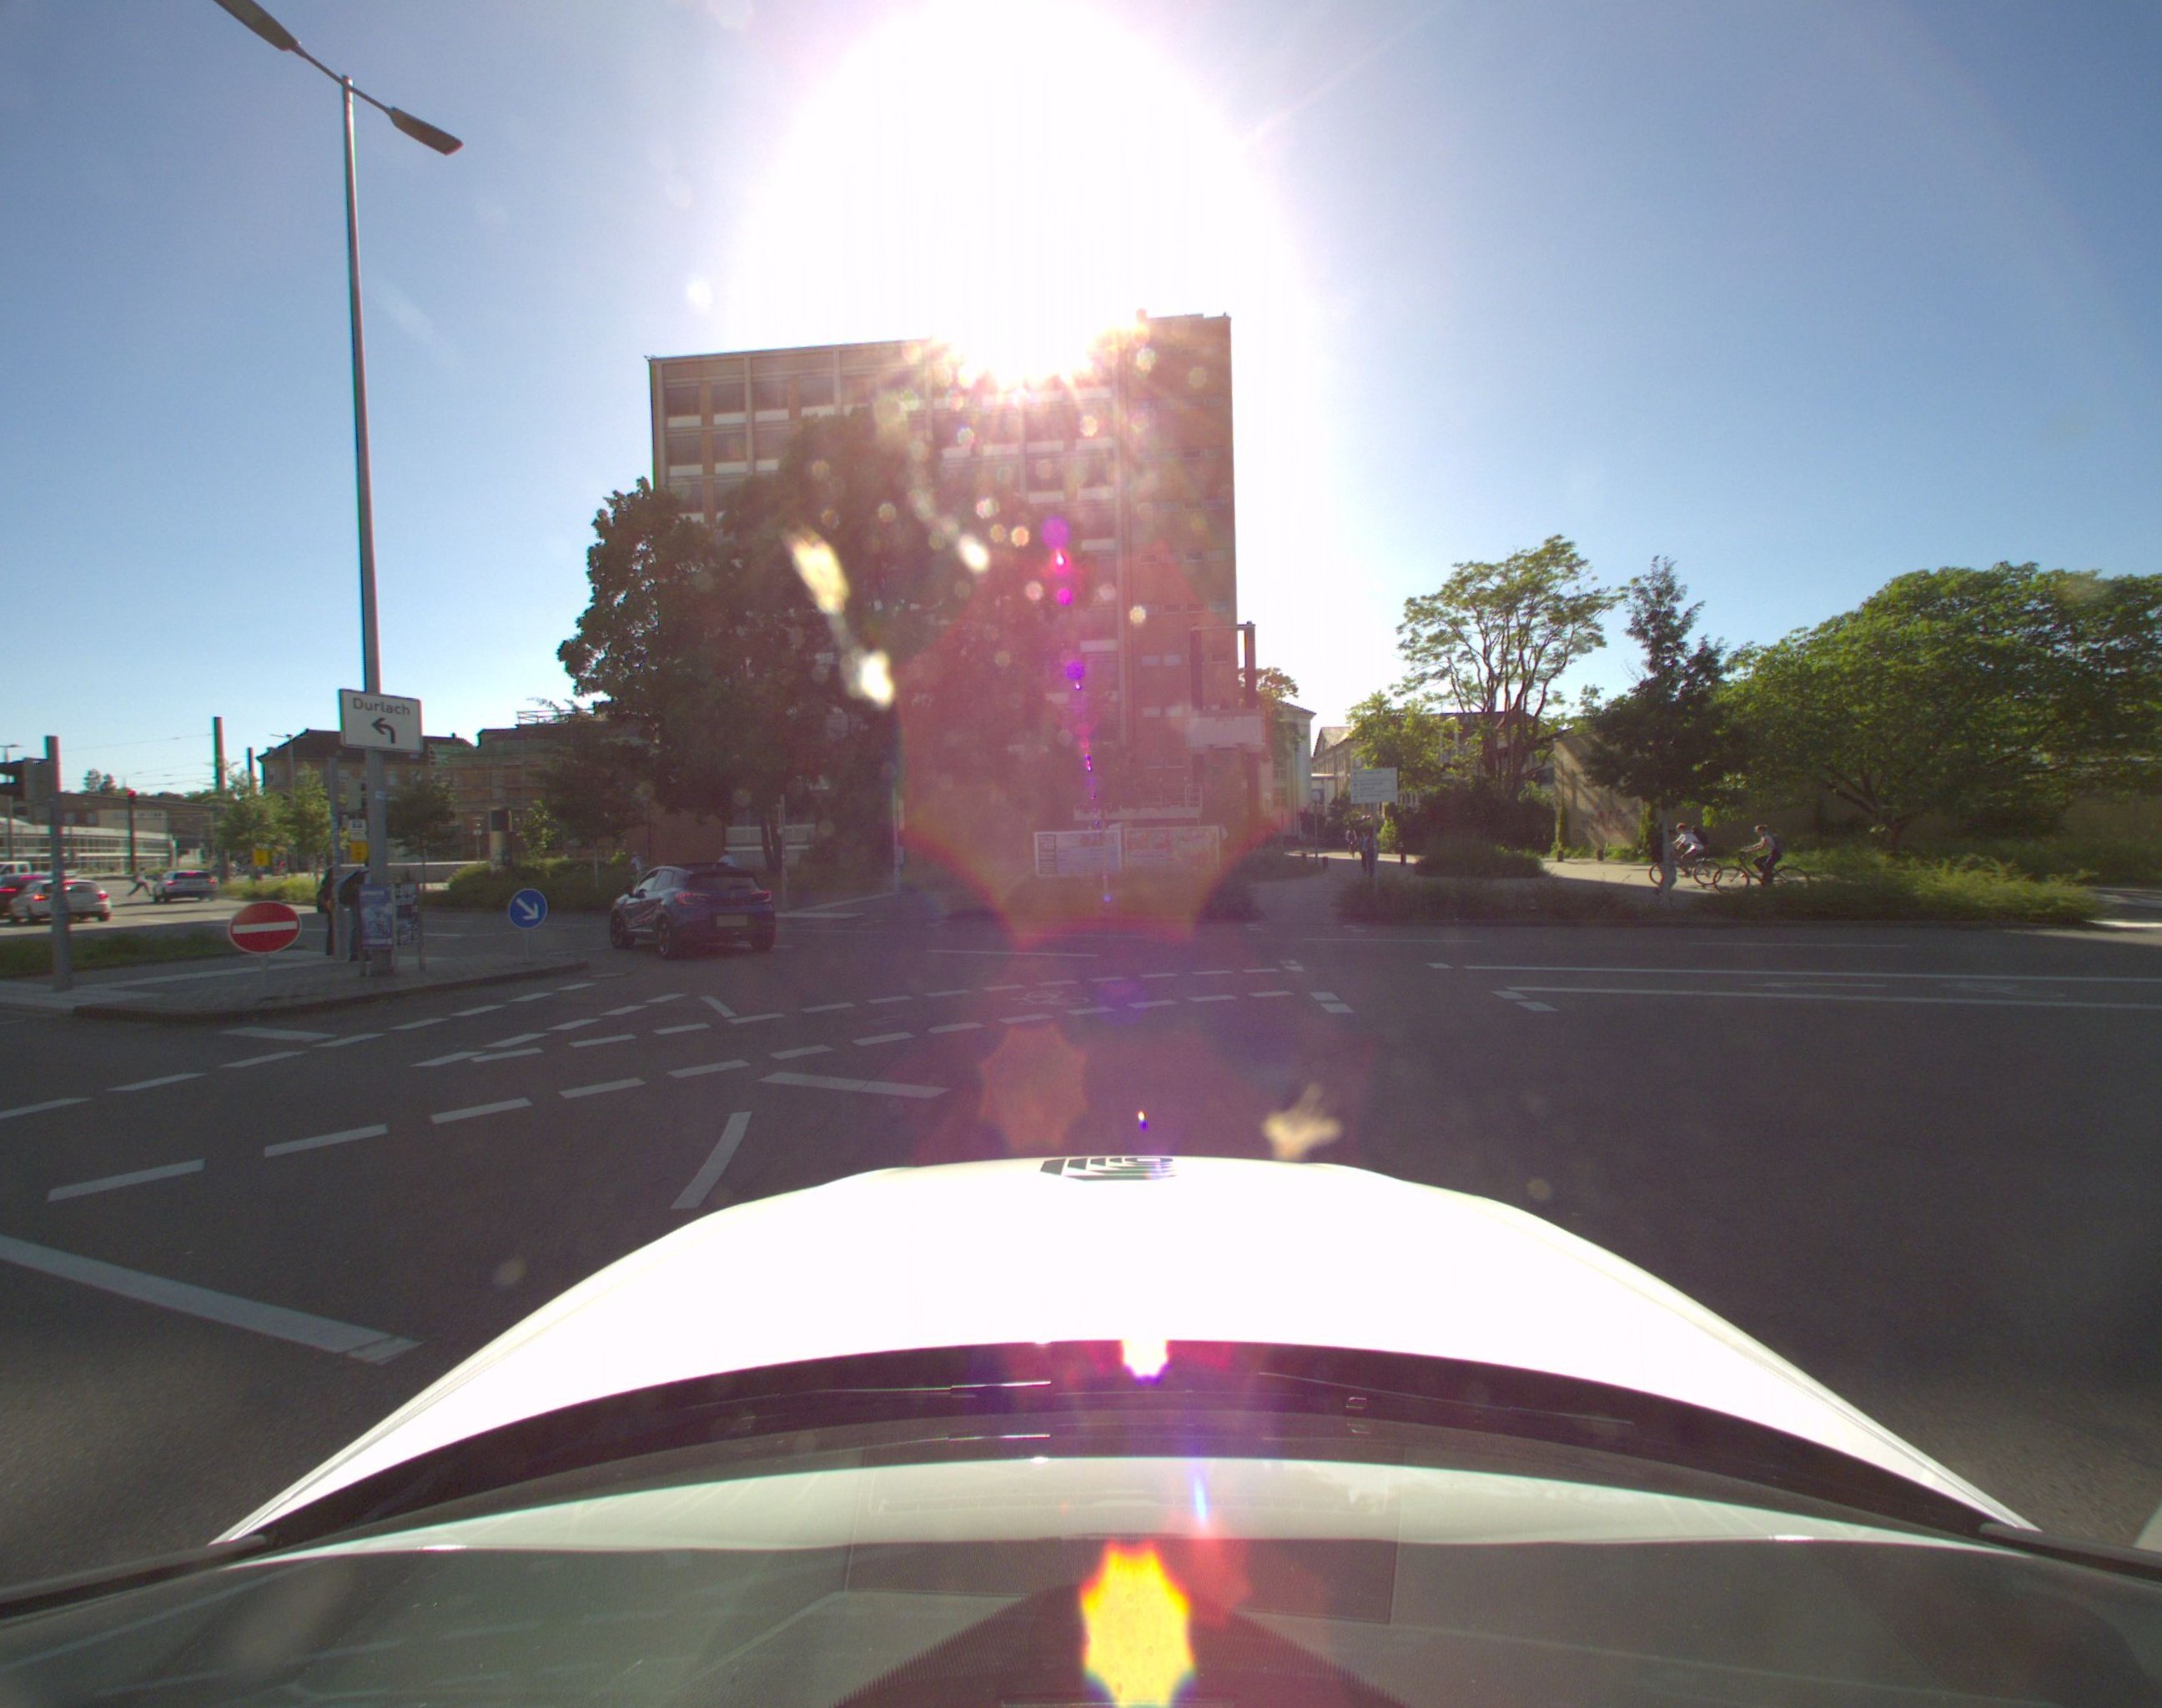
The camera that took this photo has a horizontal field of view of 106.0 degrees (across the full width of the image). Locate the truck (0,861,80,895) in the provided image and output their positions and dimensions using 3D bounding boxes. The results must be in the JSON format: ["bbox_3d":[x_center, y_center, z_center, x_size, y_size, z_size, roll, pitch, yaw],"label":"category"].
[{"bbox_3d":[-79.510,1.788,60.887,2.218,2.313,6.847,-2,1,-15],"label":"truck"}]

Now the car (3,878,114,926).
[{"bbox_3d":[-34.520,1.588,27.477,3.689,1.435,1.707,-1,1,29],"label":"car"}]

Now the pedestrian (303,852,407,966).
[{"bbox_3d":[-12.231,0.896,13.761,0.752,1.833,1.095,-1,0,-1],"label":"pedestrian"}]

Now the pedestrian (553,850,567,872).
[{"bbox_3d":[-42.292,0.569,66.129,0.532,1.752,0.793,1,1,20],"label":"pedestrian"}]

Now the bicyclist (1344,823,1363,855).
[{"bbox_3d":[15.254,-0.850,45.582,0.712,1.735,0.984,-1,1,38],"label":"bicyclist"}]

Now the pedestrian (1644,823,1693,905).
[{"bbox_3d":[13.381,0.202,18.570,0.727,1.816,0.735,1,1,24],"label":"pedestrian"}]

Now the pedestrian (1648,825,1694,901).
[{"bbox_3d":[14.029,0.198,19.390,0.727,1.781,0.735,1,1,24],"label":"pedestrian"}]

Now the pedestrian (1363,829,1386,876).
[{"bbox_3d":[10.321,-0.065,28.645,0.669,1.643,0.740,1,1,24],"label":"pedestrian"}]

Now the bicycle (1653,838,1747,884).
[{"bbox_3d":[16.792,0.189,22.132,1.936,1.164,0.646,-2,3,16],"label":"bicycle"}]

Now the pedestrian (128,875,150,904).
[{"bbox_3d":[-57.463,2.178,49.674,0.598,1.723,0.862,-2,-1,-30],"label":"pedestrian"}]

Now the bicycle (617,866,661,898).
[{"bbox_3d":[-16.863,1.058,31.050,1.846,1.165,0.753,0,1,38],"label":"bicycle"}]

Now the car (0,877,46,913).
[{"bbox_3d":[-45.595,1.731,34.639,3.673,1.442,1.688,-1,-1,35],"label":"car"}]

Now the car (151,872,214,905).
[{"bbox_3d":[-47.196,1.803,42.780,3.578,1.617,1.895,-1,-1,37],"label":"car"}]

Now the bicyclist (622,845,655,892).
[{"bbox_3d":[-16.874,0.550,31.046,0.965,1.762,0.726,-1,1,38],"label":"bicyclist"}]

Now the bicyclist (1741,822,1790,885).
[{"bbox_3d":[16.232,-0.019,19.310,0.647,1.444,0.767,-4,3,-39],"label":"bicyclist"}]

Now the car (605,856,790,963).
[{"bbox_3d":[-7.081,0.892,14.888,1.894,1.617,3.751,-3,2,-44],"label":"car"}]

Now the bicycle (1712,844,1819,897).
[{"bbox_3d":[16.231,0.361,19.350,0.646,1.165,1.848,-4,3,-39],"label":"bicycle"}]

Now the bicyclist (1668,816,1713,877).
[{"bbox_3d":[16.585,-0.205,22.171,0.823,1.595,0.634,-2,3,17],"label":"bicyclist"}]

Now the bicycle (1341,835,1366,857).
[{"bbox_3d":[15.271,-0.469,45.596,0.738,1.165,1.882,0,1,38],"label":"bicycle"}]

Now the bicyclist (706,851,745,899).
[{"bbox_3d":[-12.169,0.705,27.897,0.965,1.616,0.726,-1,1,26],"label":"bicyclist"}]

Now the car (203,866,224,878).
[{"bbox_3d":[-130.122,2.679,122.207,1.796,1.544,3.598,0,2,-40],"label":"car"}]

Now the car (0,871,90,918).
[{"bbox_3d":[-40.329,1.524,31.369,4.322,1.623,2.003,-1,1,30],"label":"car"}]

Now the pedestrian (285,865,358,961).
[{"bbox_3d":[-13.358,1.024,14.330,0.710,1.612,0.686,-1,0,25],"label":"pedestrian"}]

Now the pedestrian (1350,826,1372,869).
[{"bbox_3d":[10.762,-0.256,31.320,0.669,1.643,0.740,1,1,28],"label":"pedestrian"}]
